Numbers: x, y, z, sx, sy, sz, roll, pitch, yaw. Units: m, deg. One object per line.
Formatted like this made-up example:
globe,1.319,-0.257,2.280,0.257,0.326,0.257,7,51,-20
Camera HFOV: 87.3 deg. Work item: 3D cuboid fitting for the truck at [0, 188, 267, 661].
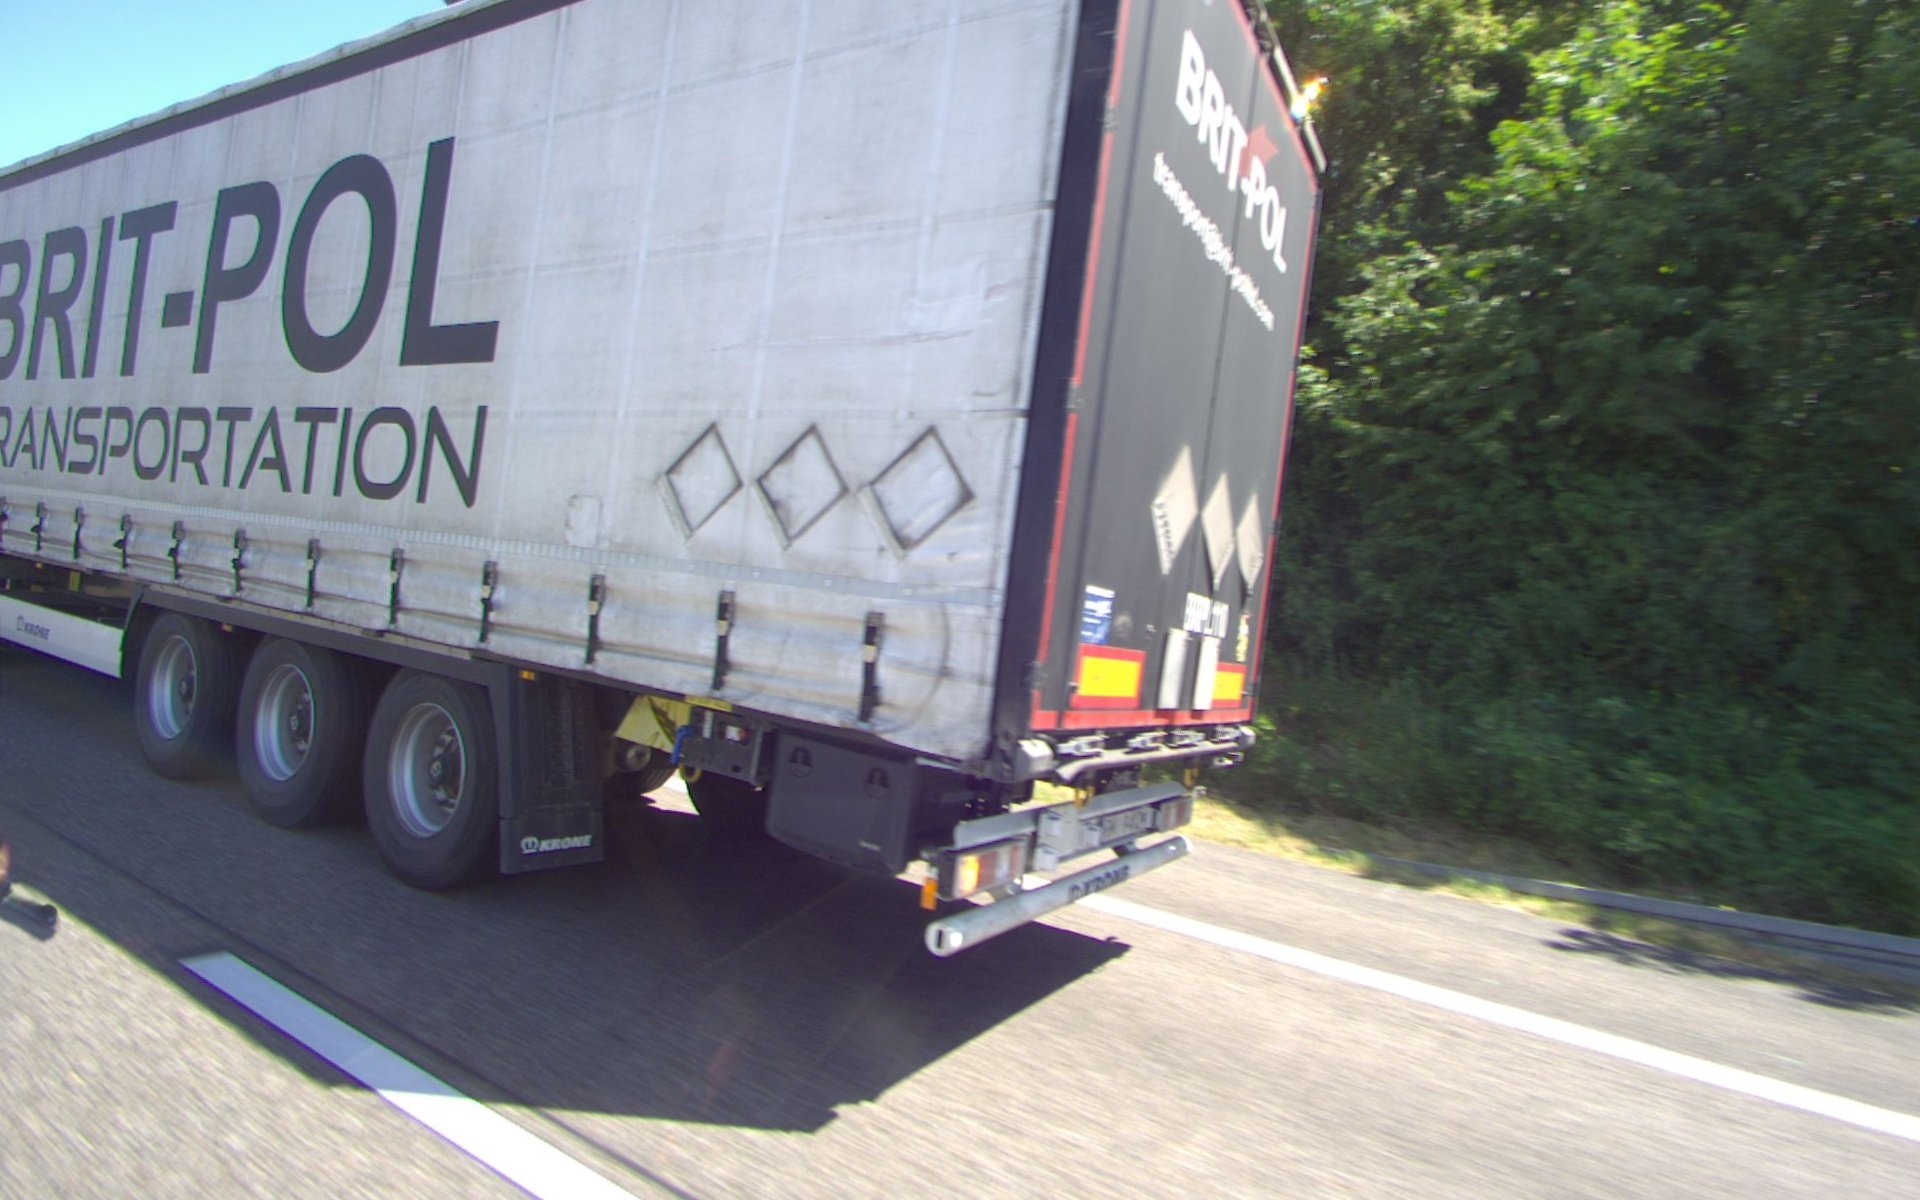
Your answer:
truck,-11.628,-1.930,11.901,5.952,4.493,3.093,6,-1,31

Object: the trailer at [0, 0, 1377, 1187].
trailer,-5.037,-1.254,7.845,14.649,4.560,3.111,6,-1,32
